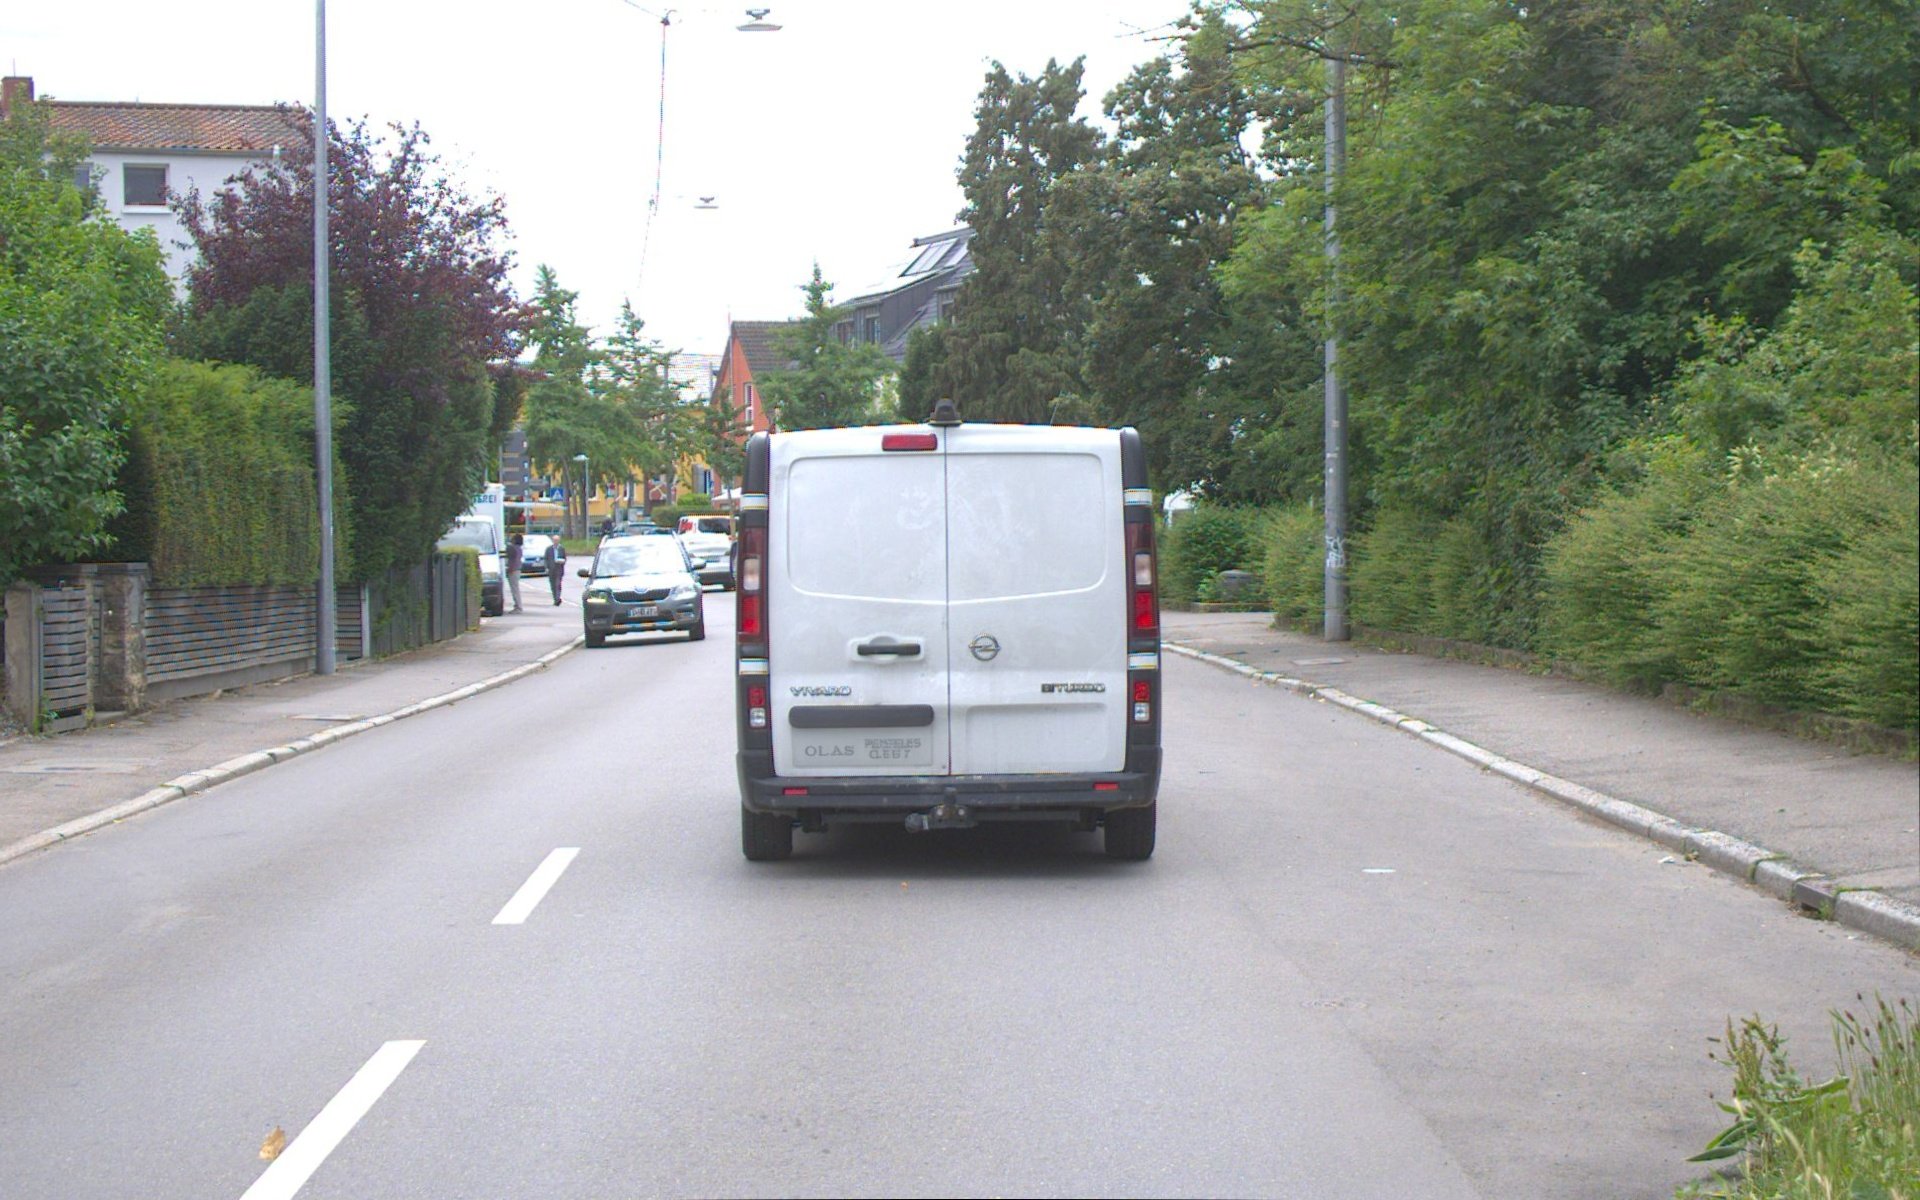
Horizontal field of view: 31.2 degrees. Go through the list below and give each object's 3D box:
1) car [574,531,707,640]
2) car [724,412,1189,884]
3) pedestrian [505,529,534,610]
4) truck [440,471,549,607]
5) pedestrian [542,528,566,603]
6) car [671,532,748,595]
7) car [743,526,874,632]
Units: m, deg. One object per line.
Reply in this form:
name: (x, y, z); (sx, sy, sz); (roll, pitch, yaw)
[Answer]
car: (-4.906, -0.252, 52.528); (1.883, 1.507, 4.114); (-2, 2, -6)
car: (-0.056, 0.166, 16.521); (1.930, 1.957, 4.402); (0, 1, -1)
pedestrian: (-9.369, -0.650, 73.120); (0.418, 1.709, 0.453); (0, 1, 42)
truck: (-9.527, -1.261, 70.625); (1.993, 2.674, 4.001); (1, 1, -5)
pedestrian: (-9.788, -0.833, 82.932); (0.514, 1.791, 0.542); (1, 1, -5)
car: (-6.985, -1.021, 95.735); (1.824, 1.722, 4.001); (0, 1, -9)
car: (-2.698, -0.400, 62.101); (1.897, 1.853, 4.404); (0, 1, 4)
